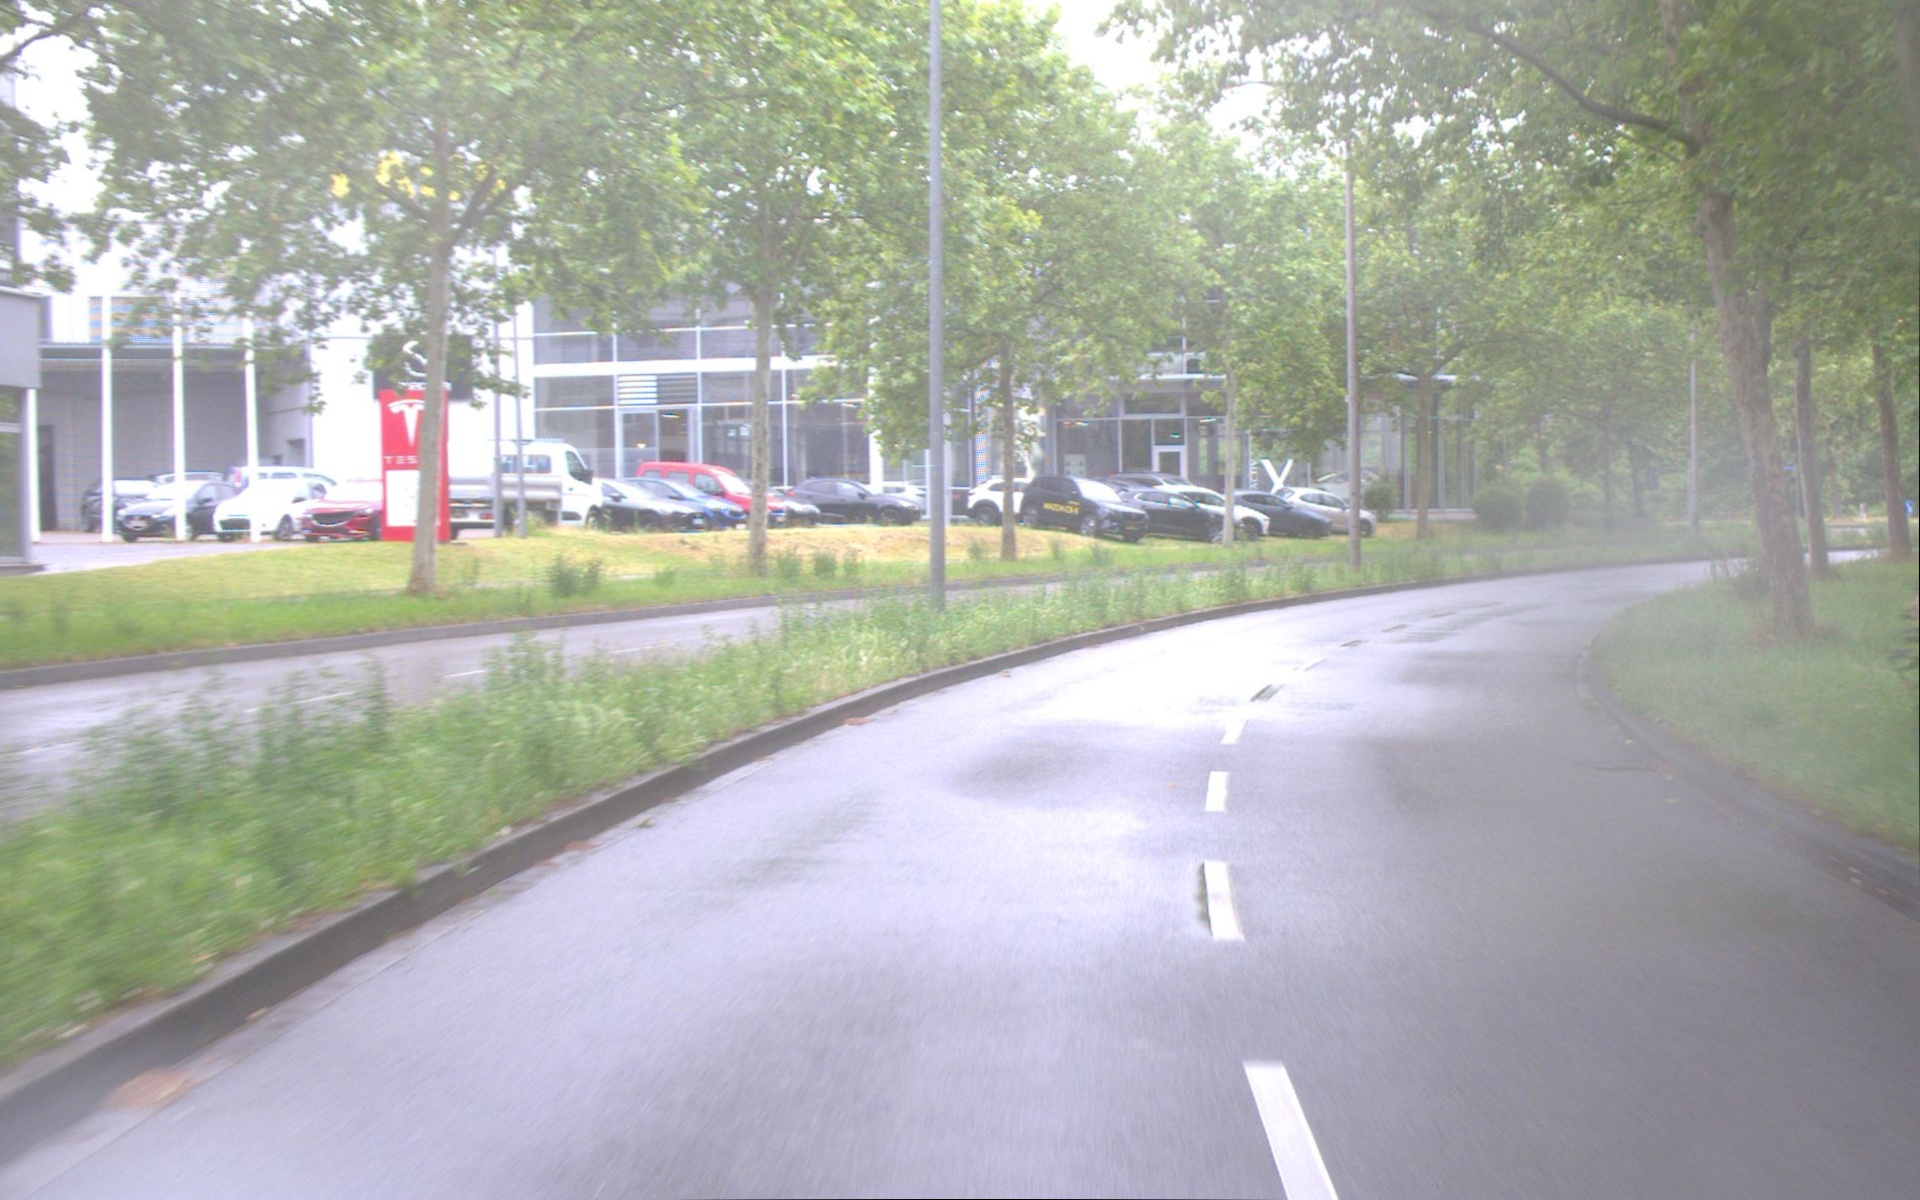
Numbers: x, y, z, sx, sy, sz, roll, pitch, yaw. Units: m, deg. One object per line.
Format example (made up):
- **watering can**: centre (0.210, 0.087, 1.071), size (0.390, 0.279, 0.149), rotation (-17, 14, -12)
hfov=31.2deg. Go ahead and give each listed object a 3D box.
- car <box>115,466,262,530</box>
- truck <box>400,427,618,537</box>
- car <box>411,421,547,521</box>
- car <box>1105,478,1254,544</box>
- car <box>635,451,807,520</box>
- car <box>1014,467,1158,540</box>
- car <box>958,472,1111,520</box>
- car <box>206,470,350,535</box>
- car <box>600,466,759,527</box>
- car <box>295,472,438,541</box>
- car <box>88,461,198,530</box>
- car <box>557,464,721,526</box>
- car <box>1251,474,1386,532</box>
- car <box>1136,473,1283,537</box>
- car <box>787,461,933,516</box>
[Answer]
- **car**: centre (-18.545, -2.473, 82.819), size (1.764, 1.392, 4.155), rotation (2, 4, 15)
- **truck**: centre (-10.428, -2.804, 80.107), size (2.249, 2.336, 6.188), rotation (4, 4, 21)
- **car**: centre (-13.783, -3.706, 98.281), size (2.163, 2.742, 5.340), rotation (0, 3, -27)
- **car**: centre (6.726, -2.744, 105.687), size (4.115, 1.473, 1.849), rotation (5, 6, -11)
- **car**: centre (-6.173, -2.973, 88.786), size (4.000, 1.551, 1.846), rotation (4, 4, 21)
- **car**: centre (3.731, -2.893, 102.502), size (1.841, 1.551, 4.438), rotation (3, 7, -35)
- **car**: centre (2.345, -3.253, 107.691), size (4.426, 1.468, 1.918), rotation (1, 2, 19)
- **car**: centre (-16.269, -2.354, 82.203), size (1.764, 1.392, 4.155), rotation (2, 4, 15)
- **car**: centre (-7.034, -2.599, 86.216), size (3.527, 1.322, 1.767), rotation (4, 4, 21)
- **car**: centre (-13.881, -2.216, 80.630), size (1.764, 1.462, 4.155), rotation (2, 4, 15)
- **car**: centre (-22.329, -2.862, 93.886), size (1.814, 1.758, 4.655), rotation (0, 3, -28)
- **car**: centre (-7.844, -2.583, 84.070), size (3.527, 1.322, 1.767), rotation (4, 4, 21)
- **car**: centre (12.052, -3.250, 115.566), size (3.986, 1.470, 1.786), rotation (4, 6, -23)
- **car**: centre (7.864, -3.001, 108.397), size (4.115, 1.473, 1.849), rotation (5, 6, -18)
- **car**: centre (-2.841, -3.186, 98.192), size (3.996, 1.352, 1.848), rotation (2, 4, 3)
